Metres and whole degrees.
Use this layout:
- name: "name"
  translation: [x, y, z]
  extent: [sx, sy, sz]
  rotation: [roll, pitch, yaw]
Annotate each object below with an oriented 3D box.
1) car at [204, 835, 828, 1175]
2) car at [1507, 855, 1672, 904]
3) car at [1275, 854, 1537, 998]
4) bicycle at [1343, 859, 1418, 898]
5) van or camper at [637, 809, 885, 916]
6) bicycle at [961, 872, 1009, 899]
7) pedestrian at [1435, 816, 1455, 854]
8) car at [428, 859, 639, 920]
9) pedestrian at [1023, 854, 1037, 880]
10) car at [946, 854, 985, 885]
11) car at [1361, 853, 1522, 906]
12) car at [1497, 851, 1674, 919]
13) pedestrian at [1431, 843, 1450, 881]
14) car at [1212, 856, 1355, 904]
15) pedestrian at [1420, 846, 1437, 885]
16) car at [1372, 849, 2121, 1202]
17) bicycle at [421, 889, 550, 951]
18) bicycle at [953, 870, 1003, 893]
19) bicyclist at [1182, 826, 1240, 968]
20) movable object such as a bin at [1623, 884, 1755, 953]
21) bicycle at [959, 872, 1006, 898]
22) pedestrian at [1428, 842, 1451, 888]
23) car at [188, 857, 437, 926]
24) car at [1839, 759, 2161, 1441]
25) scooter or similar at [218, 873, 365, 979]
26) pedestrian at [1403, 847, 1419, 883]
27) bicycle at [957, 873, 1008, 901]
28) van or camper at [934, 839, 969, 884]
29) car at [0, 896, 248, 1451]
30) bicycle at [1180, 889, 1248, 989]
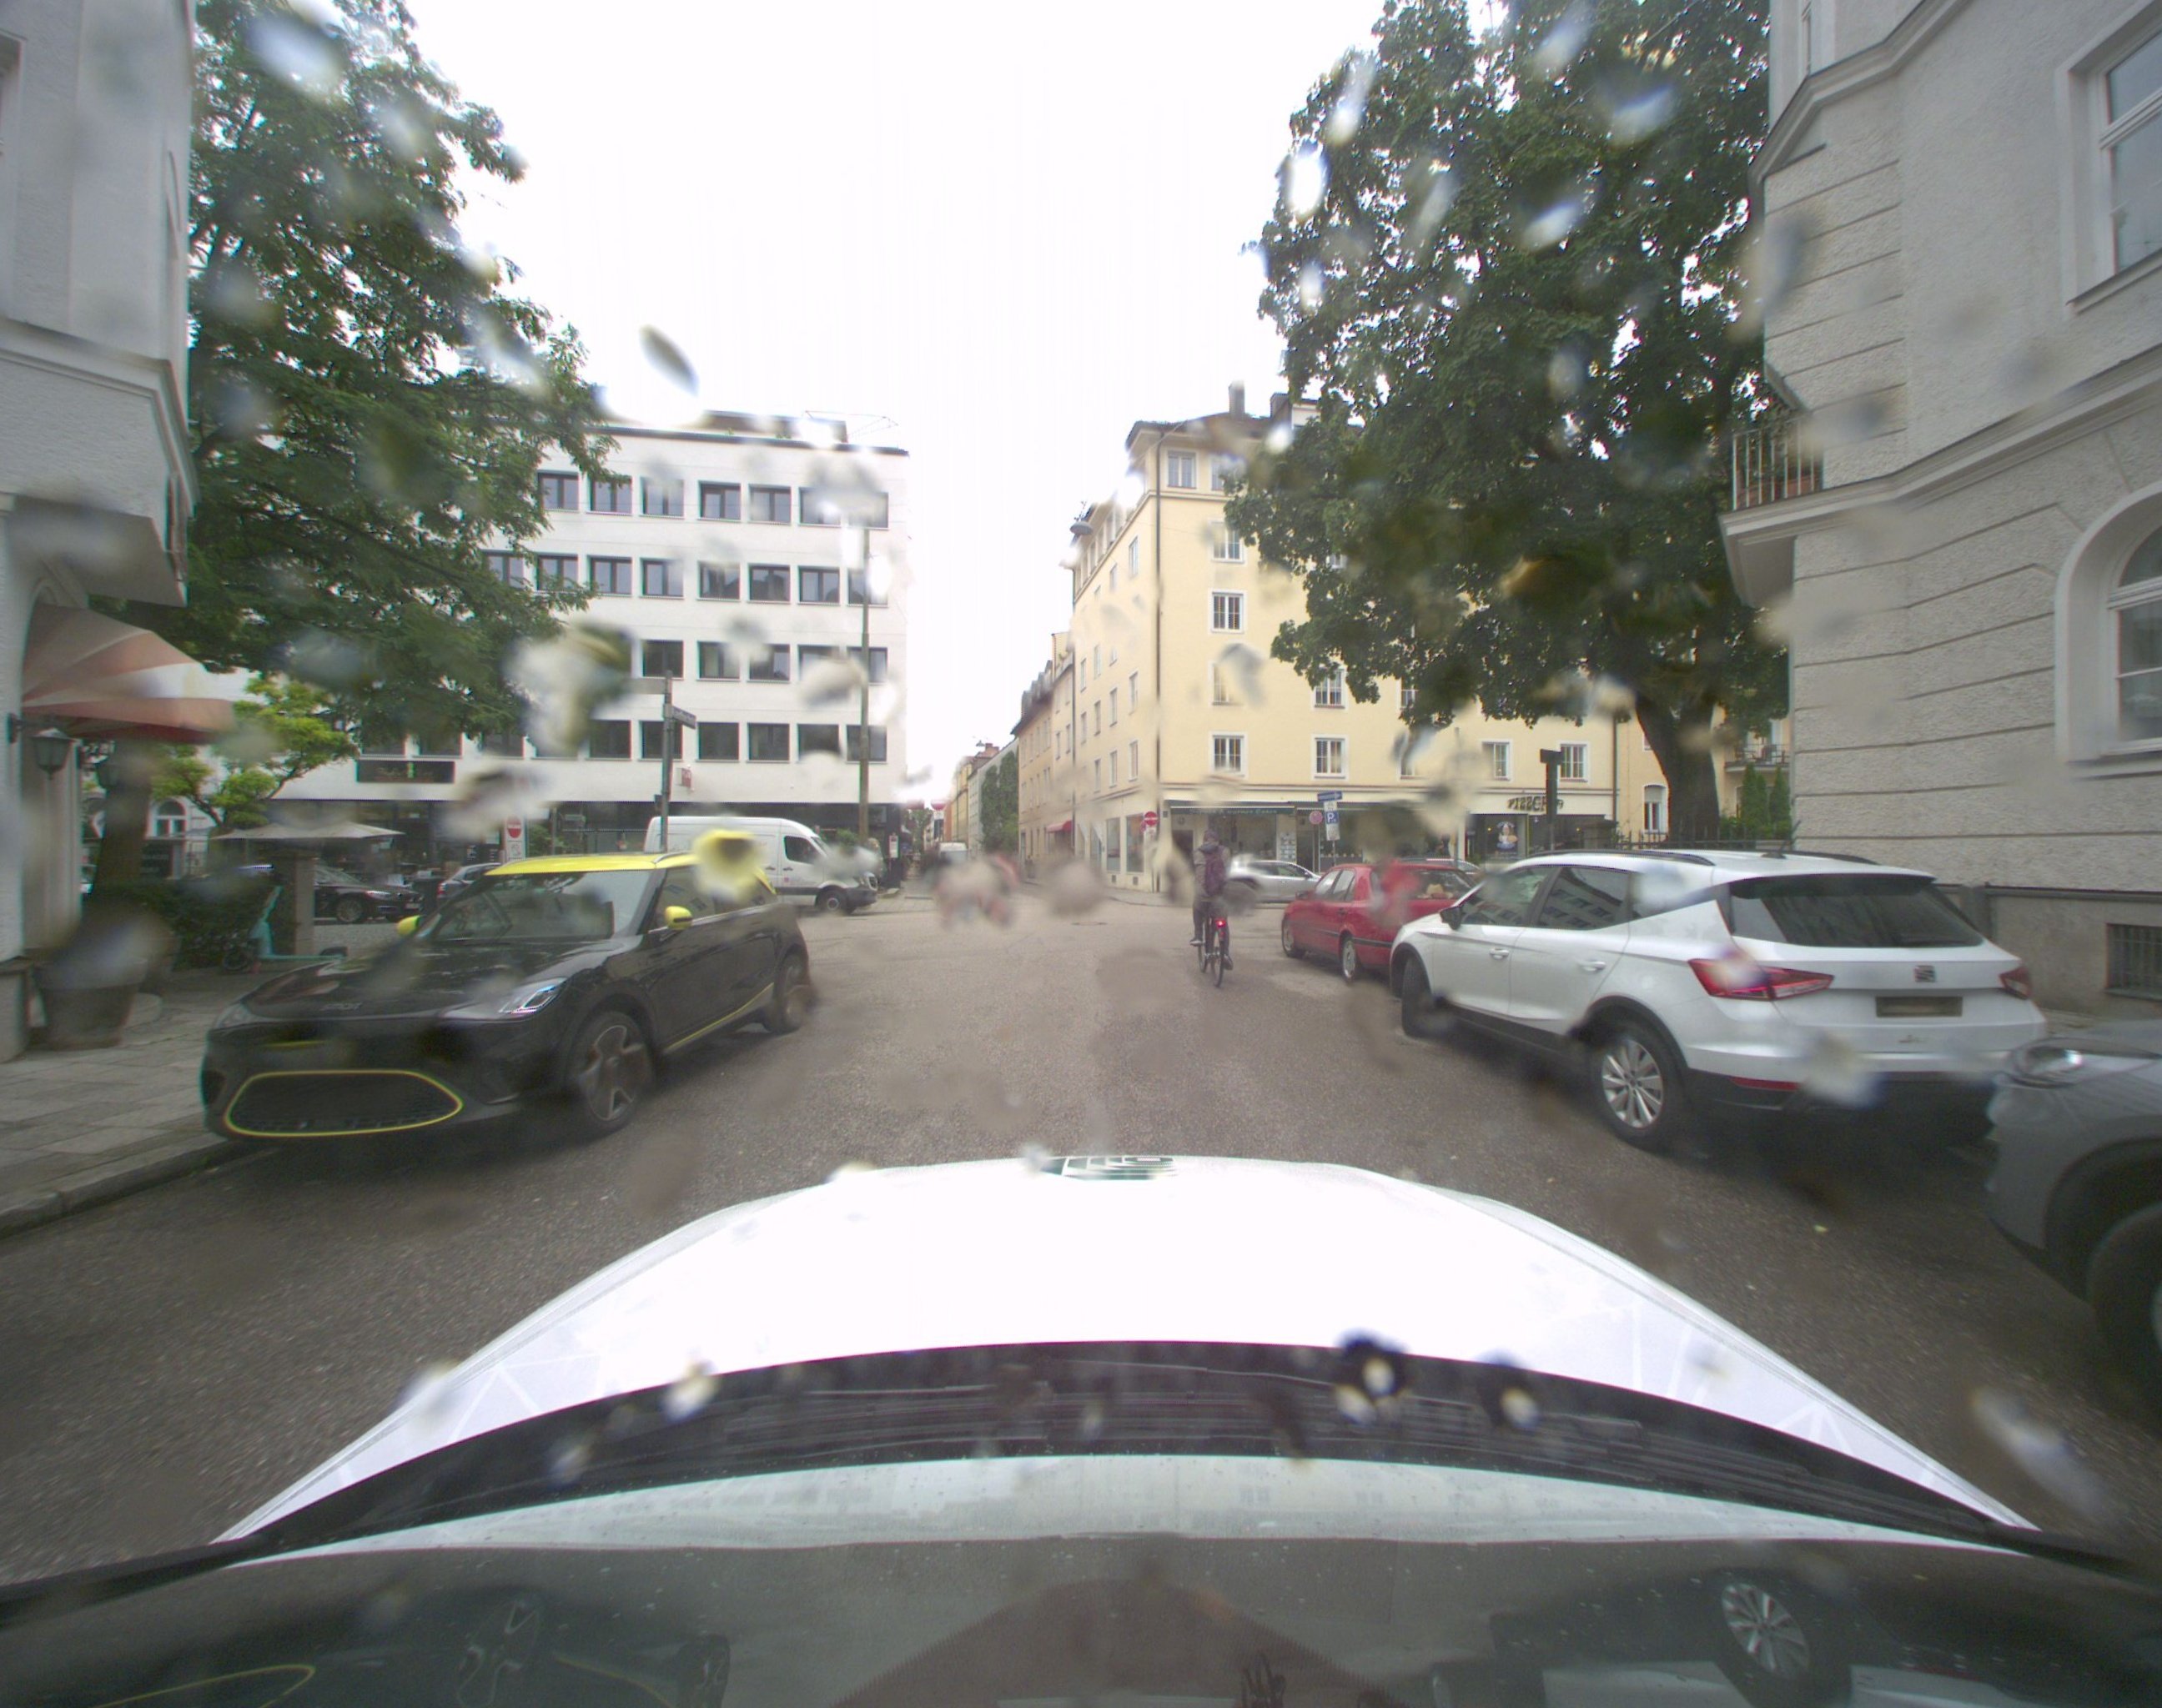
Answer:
- name: "car"
  translation: [-3.386, 0.750, 5.958]
  extent: [1.670, 1.597, 3.946]
  rotation: [-2, 0, 2]
- name: "car"
  translation: [16.097, 0.807, 25.846]
  extent: [4.336, 1.503, 1.814]
  rotation: [0, -2, -10]
- name: "car"
  translation: [3.796, 0.729, 10.346]
  extent: [1.664, 1.435, 4.213]
  rotation: [0, 0, 0]
- name: "bicycle"
  translation: [9.982, 0.818, 27.204]
  extent: [2.081, 1.253, 1.103]
  rotation: [1, 1, -9]
- name: "van or camper"
  translation: [-8.401, 0.210, 21.914]
  extent: [5.901, 2.677, 1.867]
  rotation: [-1, -2, -9]
- name: "bicycle"
  translation: [-3.665, 1.193, 30.991]
  extent: [1.739, 0.968, 0.540]
  rotation: [-1, 0, -16]
- name: "pedestrian"
  translation: [15.226, -0.783, 34.068]
  extent: [0.552, 1.575, 0.576]
  rotation: [1, -1, -9]
- name: "car"
  translation: [-13.829, 0.897, 20.823]
  extent: [4.055, 1.429, 1.792]
  rotation: [0, -3, -12]
- name: "pedestrian"
  translation: [-3.560, 0.903, 56.664]
  extent: [0.878, 1.778, 0.770]
  rotation: [-1, 0, -11]
- name: "car"
  translation: [-6.217, 0.803, 43.413]
  extent: [1.833, 1.535, 3.985]
  rotation: [-1, 0, -11]
- name: "car"
  translation: [11.206, 0.783, 25.450]
  extent: [4.336, 1.592, 1.814]
  rotation: [0, -2, -10]
- name: "car"
  translation: [11.979, 0.700, 19.439]
  extent: [3.318, 1.487, 1.624]
  rotation: [0, 1, -7]
- name: "pedestrian"
  translation: [14.769, 0.315, 33.431]
  extent: [0.435, 1.551, 0.530]
  rotation: [0, 0, -27]
- name: "car"
  translation: [6.138, 0.830, 25.053]
  extent: [3.972, 1.416, 1.821]
  rotation: [0, -4, 1]
- name: "pedestrian"
  translation: [14.070, 0.459, 33.006]
  extent: [0.550, 1.537, 0.437]
  rotation: [1, 2, 34]
- name: "car"
  translation: [3.600, 0.726, 5.471]
  extent: [1.746, 1.496, 3.905]
  rotation: [0, 0, -3]
- name: "bicycle"
  translation: [-9.833, 1.067, 13.526]
  extent: [1.566, 0.947, 0.891]
  rotation: [1, -2, -26]
- name: "bicycle"
  translation: [-4.137, 1.083, 32.671]
  extent: [1.915, 0.863, 0.615]
  rotation: [-1, 0, -16]
- name: "bicyclist"
  translation: [1.519, 0.490, 9.613]
  extent: [0.603, 1.606, 0.758]
  rotation: [-1, 0, 4]
- name: "movable object such as a bin"
  translation: [8.344, 0.861, 11.242]
  extent: [0.898, 0.844, 1.218]
  rotation: [-1, 0, -2]
- name: "bicycle"
  translation: [-3.809, 1.186, 31.599]
  extent: [1.739, 0.968, 0.540]
  rotation: [-1, 0, -16]
- name: "pedestrian"
  translation: [13.401, 0.392, 30.431]
  extent: [0.602, 1.702, 0.542]
  rotation: [-1, 1, -8]
- name: "car"
  translation: [-18.680, 0.894, 19.997]
  extent: [4.121, 1.544, 1.795]
  rotation: [-1, -2, -8]
- name: "car"
  translation: [3.606, 0.612, 0.699]
  extent: [1.784, 1.713, 4.425]
  rotation: [-1, 0, 0]
- name: "scooter or similar"
  translation: [-9.862, 0.860, 10.222]
  extent: [0.550, 1.216, 1.191]
  rotation: [1, 0, 13]
- name: "pedestrian"
  translation: [13.216, 0.440, 32.634]
  extent: [0.507, 1.433, 0.586]
  rotation: [-1, 0, 32]
- name: "bicycle"
  translation: [-3.592, 1.200, 29.608]
  extent: [1.758, 0.968, 0.592]
  rotation: [-1, 0, -16]
- name: "van or camper"
  translation: [-7.814, 0.409, 48.945]
  extent: [1.994, 2.540, 4.744]
  rotation: [-1, 0, -10]
- name: "car"
  translation: [-3.730, 0.863, 0.711]
  extent: [1.699, 1.390, 4.004]
  rotation: [-2, 0, 4]
- name: "bicycle"
  translation: [1.519, 0.947, 9.519]
  extent: [0.636, 1.004, 1.576]
  rotation: [-1, 0, 4]
